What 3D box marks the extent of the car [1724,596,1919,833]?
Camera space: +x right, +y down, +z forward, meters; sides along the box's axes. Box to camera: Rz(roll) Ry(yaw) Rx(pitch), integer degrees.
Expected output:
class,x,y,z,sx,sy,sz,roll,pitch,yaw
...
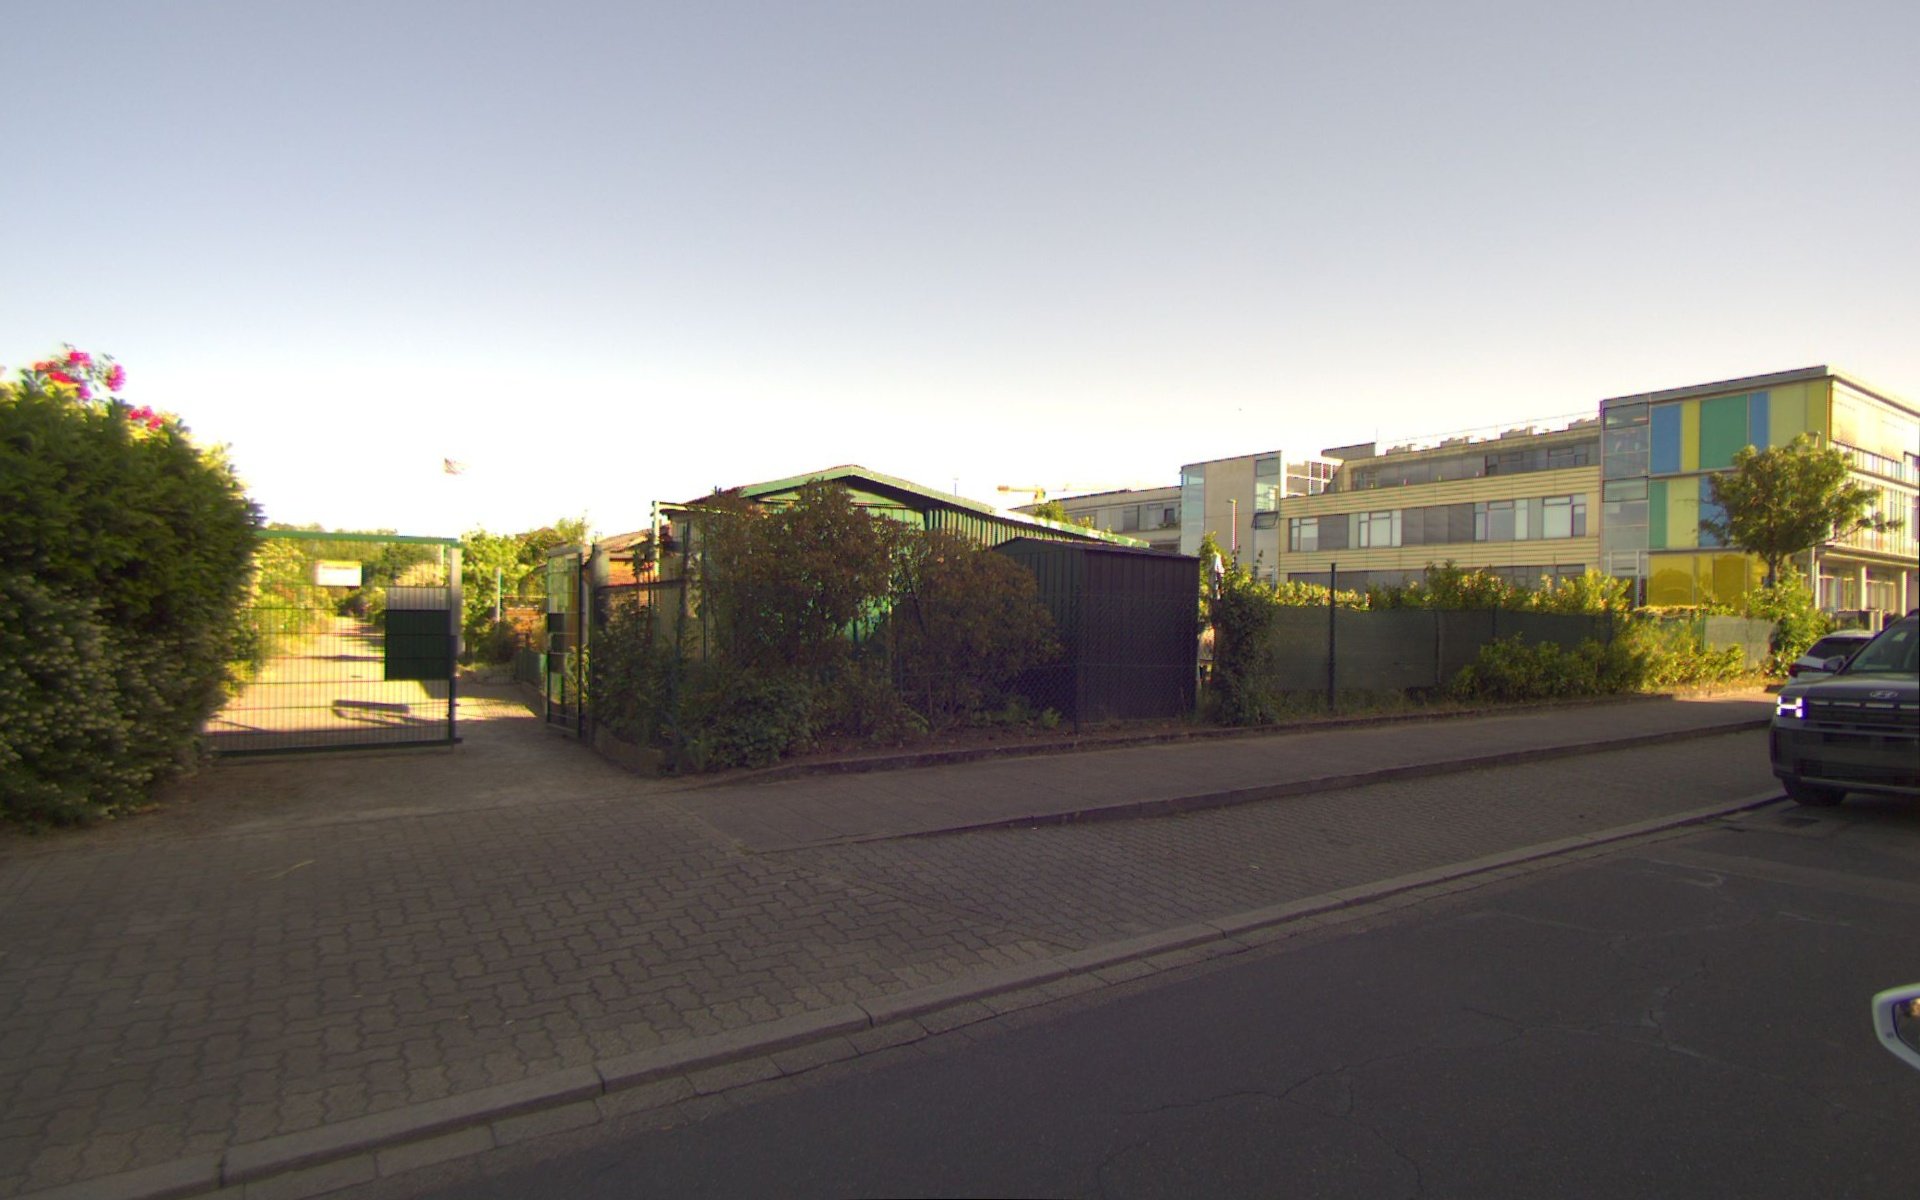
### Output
class,x,y,z,sx,sy,sz,roll,pitch,yaw
car,9.092,0.880,8.762,4.774,1.750,1.936,1,-1,-26

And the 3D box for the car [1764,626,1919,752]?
class,x,y,z,sx,sy,sz,roll,pitch,yaw
car,13.243,1.139,14.134,4.494,1.465,1.736,1,1,-34
